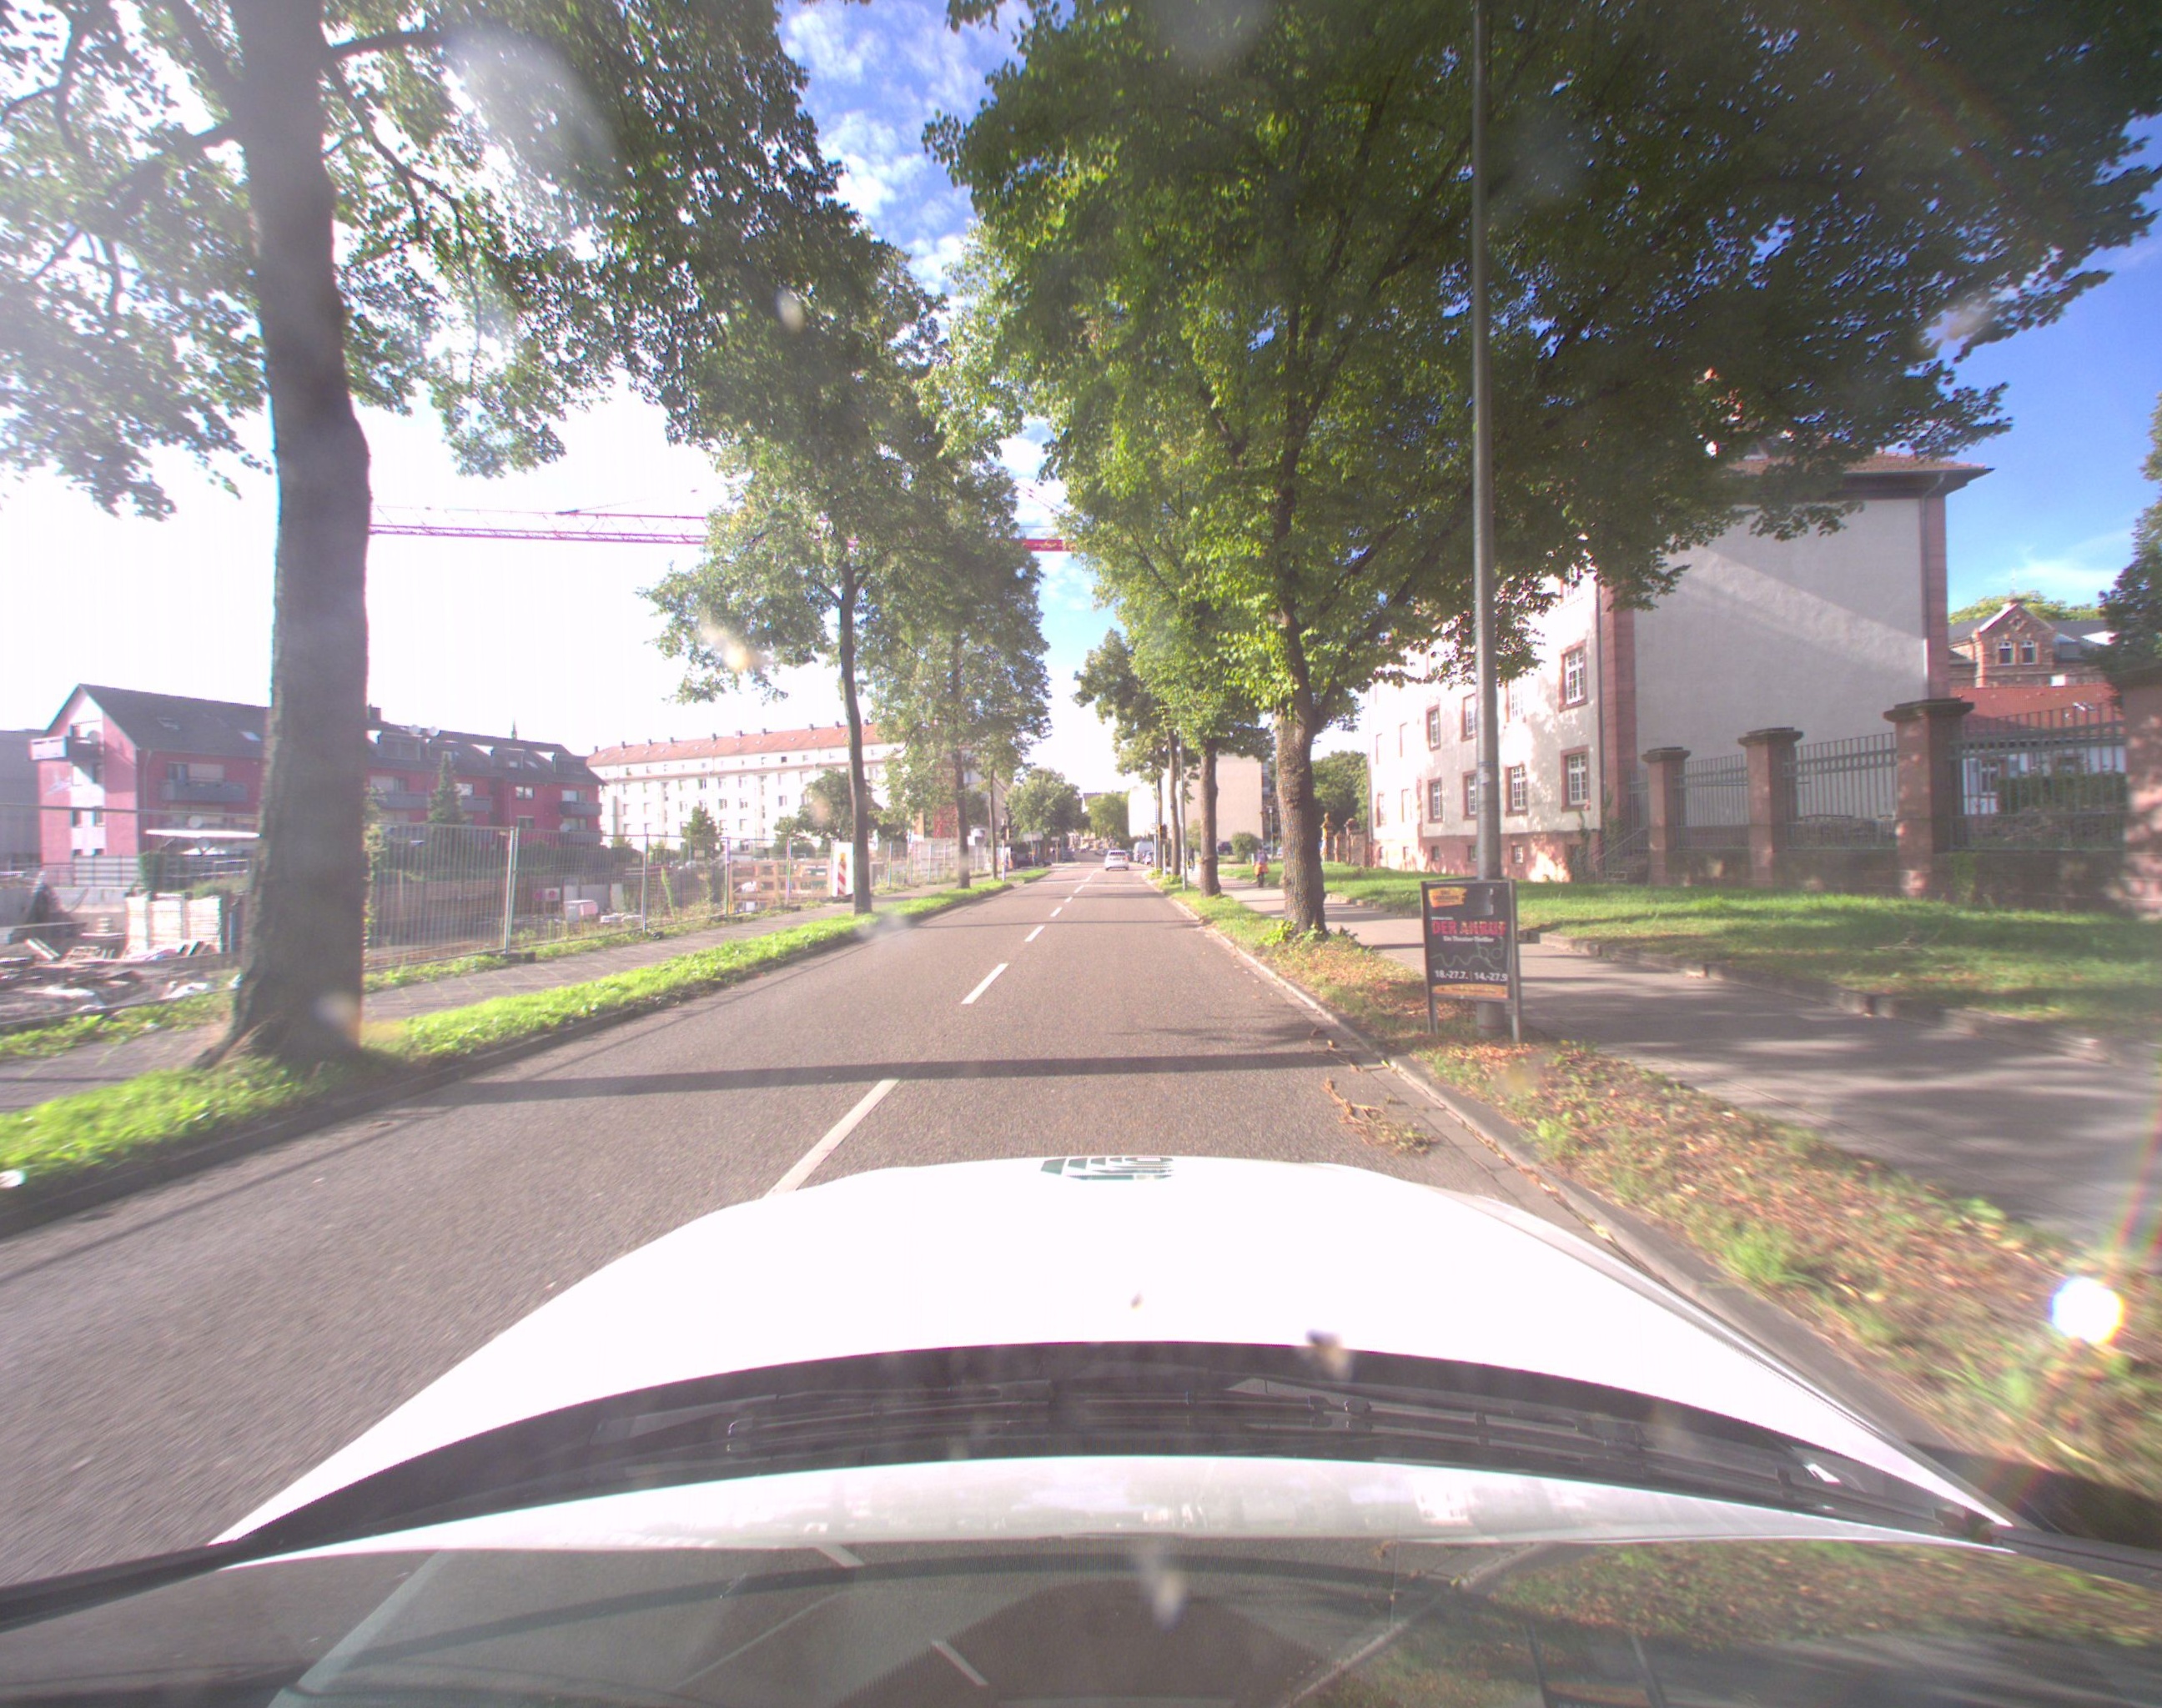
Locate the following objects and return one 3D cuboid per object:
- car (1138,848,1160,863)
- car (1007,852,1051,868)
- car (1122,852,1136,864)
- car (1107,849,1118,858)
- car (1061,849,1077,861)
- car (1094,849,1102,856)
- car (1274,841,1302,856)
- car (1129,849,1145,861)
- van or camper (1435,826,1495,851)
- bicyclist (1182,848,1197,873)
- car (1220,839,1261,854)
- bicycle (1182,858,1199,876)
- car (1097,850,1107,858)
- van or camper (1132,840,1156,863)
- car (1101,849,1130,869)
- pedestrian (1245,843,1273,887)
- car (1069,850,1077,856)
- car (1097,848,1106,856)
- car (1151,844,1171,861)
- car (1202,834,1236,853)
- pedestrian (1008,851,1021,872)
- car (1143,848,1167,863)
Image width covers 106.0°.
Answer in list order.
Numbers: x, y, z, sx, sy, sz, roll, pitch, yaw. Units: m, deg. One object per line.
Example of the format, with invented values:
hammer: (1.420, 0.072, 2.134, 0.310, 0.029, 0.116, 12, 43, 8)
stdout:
car: (7.789, 0.199, 93.286, 1.988, 1.615, 4.406, -2, 0, -1)
car: (-5.178, 0.562, 80.895, 3.963, 1.570, 2.005, -1, 0, 9)
car: (7.108, 0.603, 120.845, 1.986, 1.574, 4.001, -2, 0, 1)
car: (6.038, -0.066, 157.849, 1.986, 1.574, 4.001, -2, 0, 1)
car: (-1.765, 0.161, 115.928, 1.990, 1.640, 3.994, -2, 0, -4)
car: (4.347, -0.293, 207.715, 1.985, 1.755, 4.003, 0, 0, 2)
car: (22.276, -0.598, 87.787, 1.988, 1.442, 3.999, -2, 0, -1)
car: (7.537, 0.102, 110.270, 1.986, 1.574, 4.001, -2, 0, 1)
van or camper: (41.281, -1.648, 87.633, 5.222, 2.556, 2.596, -2, 0, 0)
bicyclist: (6.938, 0.427, 52.119, 0.734, 1.513, 0.875, -4, 0, 1)
car: (18.453, -0.843, 94.260, 4.427, 1.621, 2.003, -2, 0, 5)
bicycle: (6.948, 0.814, 51.960, 0.737, 1.035, 2.763, -4, 0, 2)
car: (4.609, 0.016, 176.399, 1.985, 1.755, 4.003, 0, 0, 2)
van or camper: (7.623, -0.342, 99.329, 2.204, 2.607, 5.367, -2, 0, -2)
car: (2.647, 0.379, 63.835, 1.988, 1.555, 4.272, 0, 0, -1)
pedestrian: (6.721, 0.409, 30.864, 0.811, 1.590, 0.769, -4, 0, 1)
car: (-2.501, -0.273, 248.084, 2.052, 1.663, 3.920, -2, 0, -4)
car: (4.758, -0.397, 187.117, 1.985, 1.755, 4.003, 0, 0, 2)
car: (7.497, -0.123, 76.597, 1.710, 1.496, 4.271, -2, 0, 3)
car: (17.523, -1.328, 103.752, 4.099, 2.186, 2.003, -2, 0, 5)
pedestrian: (-5.547, 0.619, 67.942, 1.007, 1.728, 1.174, -1, -1, -10)
car: (7.932, 0.163, 88.021, 2.010, 1.475, 4.800, -3, 0, -1)
